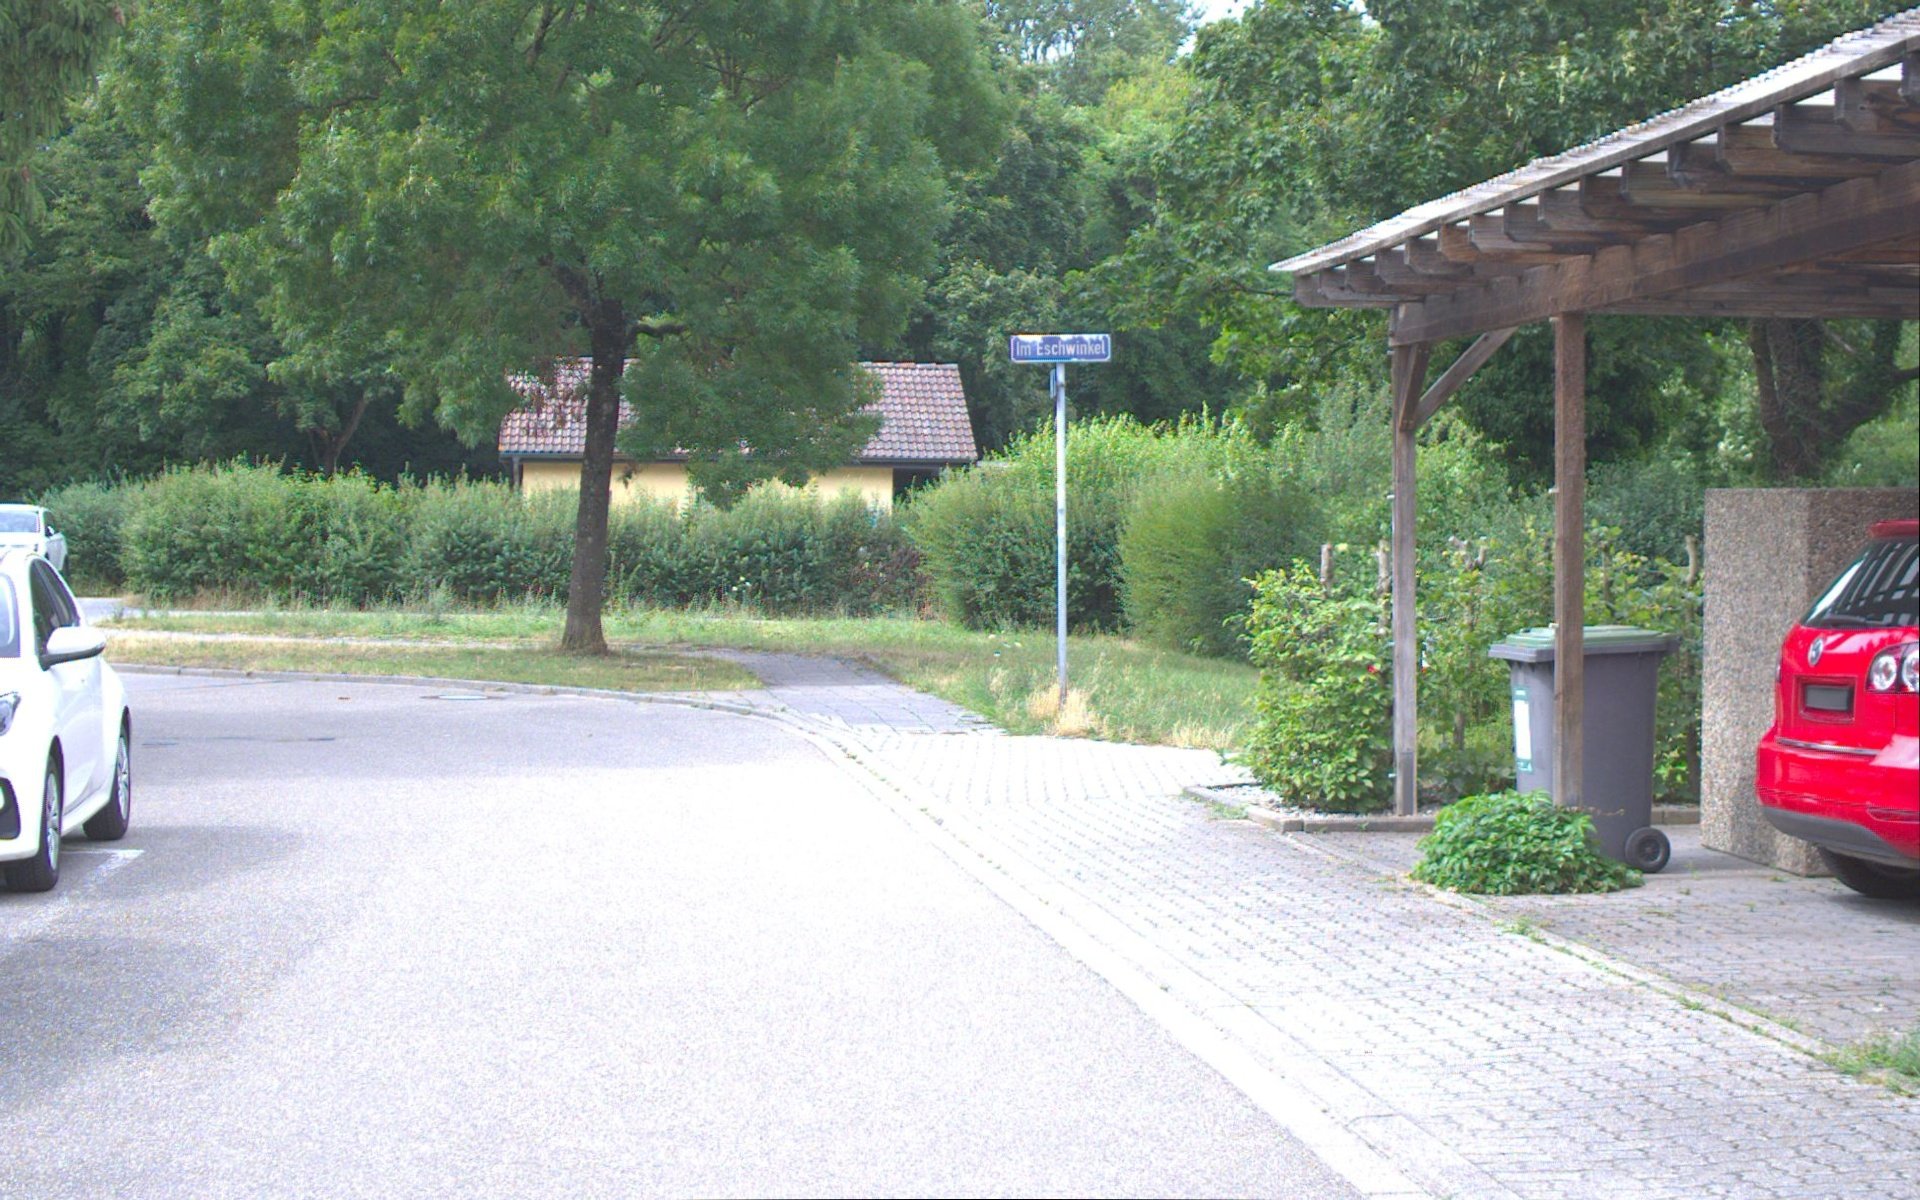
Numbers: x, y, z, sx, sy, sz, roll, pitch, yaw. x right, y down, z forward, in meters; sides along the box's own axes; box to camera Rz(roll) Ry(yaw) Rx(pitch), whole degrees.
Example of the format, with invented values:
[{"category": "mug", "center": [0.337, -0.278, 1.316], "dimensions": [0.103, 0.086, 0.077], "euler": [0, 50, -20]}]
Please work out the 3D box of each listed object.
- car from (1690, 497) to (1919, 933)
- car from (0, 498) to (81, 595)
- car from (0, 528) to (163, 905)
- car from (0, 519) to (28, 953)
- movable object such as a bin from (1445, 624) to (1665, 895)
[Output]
[{"category": "car", "center": [5.053, 0.384, 13.298], "dimensions": [3.956, 1.535, 1.840], "euler": [0, 1, -9]}, {"category": "car", "center": [-16.813, -0.959, 60.645], "dimensions": [1.937, 1.654, 4.342], "euler": [1, 1, -6]}, {"category": "car", "center": [-4.852, 0.429, 15.849], "dimensions": [1.791, 1.526, 4.141], "euler": [0, 1, -6]}, {"category": "car", "center": [-4.128, 0.524, 10.434], "dimensions": [1.809, 1.557, 4.849], "euler": [0, 1, -7]}, {"category": "movable object such as a bin", "center": [2.461, 0.646, 14.275], "dimensions": [0.699, 1.068, 0.712], "euler": [-1, 1, -9]}]
